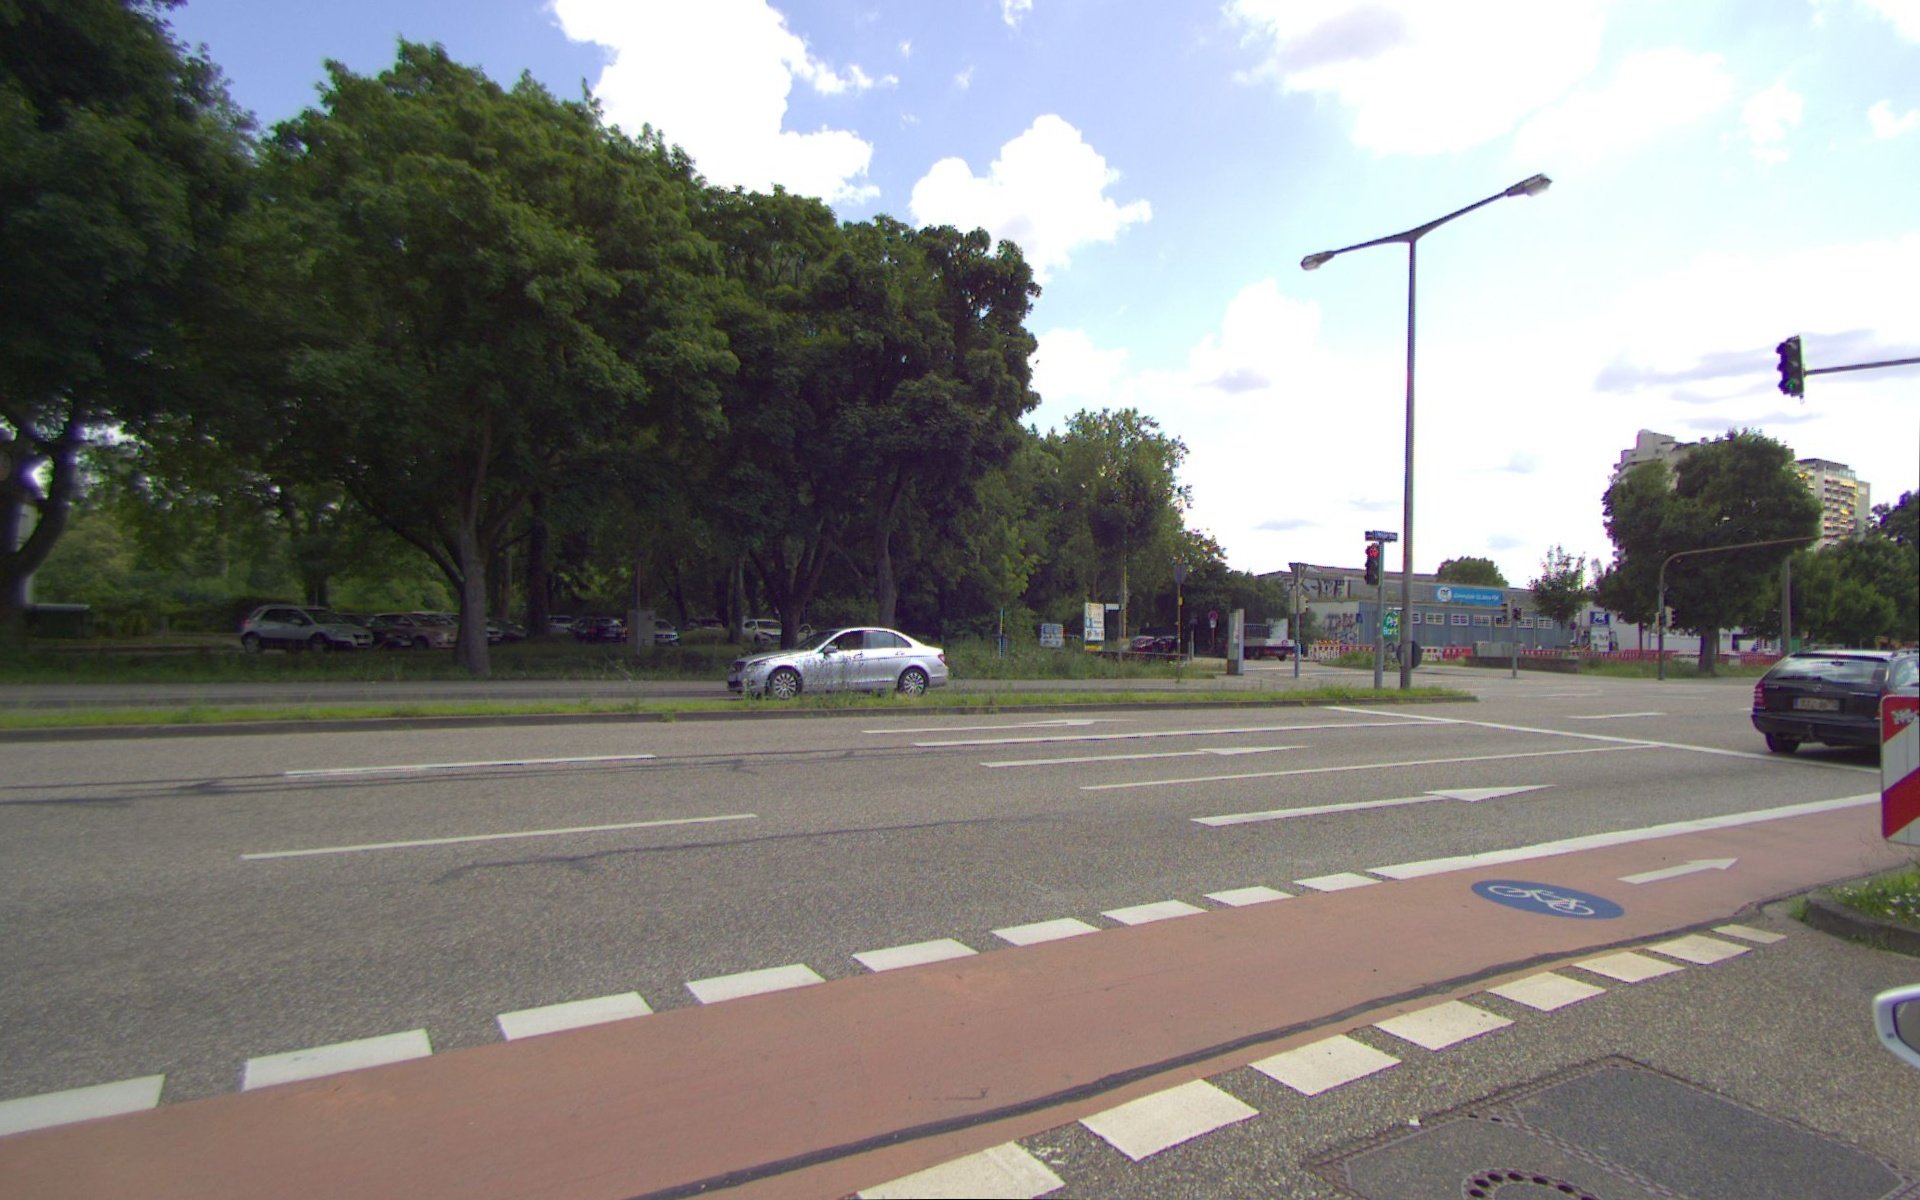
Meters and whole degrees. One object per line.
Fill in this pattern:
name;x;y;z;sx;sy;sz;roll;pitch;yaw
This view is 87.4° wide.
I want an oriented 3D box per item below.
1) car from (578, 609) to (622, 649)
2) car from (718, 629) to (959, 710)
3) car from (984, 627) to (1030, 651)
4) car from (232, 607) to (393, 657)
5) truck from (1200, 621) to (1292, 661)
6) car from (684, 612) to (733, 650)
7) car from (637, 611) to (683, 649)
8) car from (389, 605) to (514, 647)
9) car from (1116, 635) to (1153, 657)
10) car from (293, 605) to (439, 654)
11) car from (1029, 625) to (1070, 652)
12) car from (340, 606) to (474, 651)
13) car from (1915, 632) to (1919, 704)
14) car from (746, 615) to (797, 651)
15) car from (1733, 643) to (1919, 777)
car;-16.782;1.345;46.750;1.792;1.750;4.108;2;-2;-21
car;-2.372;1.349;20.035;4.445;1.451;1.791;2;-2;-31
car;3.295;2.773;70.990;1.600;1.528;3.593;2;-1;-28
car;-20.890;1.040;32.493;3.941;1.503;2.001;1;-2;6
truck;18.876;2.674;66.773;2.986;2.471;6.972;1;-2;-11
car;-12.379;1.508;49.234;2.014;1.748;4.560;2;-2;-18
car;-14.517;1.451;48.416;1.792;1.732;4.108;2;-2;-21
car;-20.208;1.036;40.035;3.941;1.565;2.001;1;-2;6
car;14.752;3.863;85.043;1.682;1.810;3.990;2;-2;-14
car;-20.714;1.027;35.124;3.941;1.608;2.001;1;-2;6
car;6.400;2.736;71.907;1.903;1.817;3.612;2;-1;-12
car;-20.607;1.086;37.556;3.941;1.608;2.001;-1;-2;6
car;24.889;1.696;23.953;4.286;1.690;1.779;2;-1;-28
car;-9.682;1.669;51.487;2.043;1.748;4.112;2;-2;-18
car;12.482;1.397;13.557;4.382;1.485;1.746;3;-1;-31
